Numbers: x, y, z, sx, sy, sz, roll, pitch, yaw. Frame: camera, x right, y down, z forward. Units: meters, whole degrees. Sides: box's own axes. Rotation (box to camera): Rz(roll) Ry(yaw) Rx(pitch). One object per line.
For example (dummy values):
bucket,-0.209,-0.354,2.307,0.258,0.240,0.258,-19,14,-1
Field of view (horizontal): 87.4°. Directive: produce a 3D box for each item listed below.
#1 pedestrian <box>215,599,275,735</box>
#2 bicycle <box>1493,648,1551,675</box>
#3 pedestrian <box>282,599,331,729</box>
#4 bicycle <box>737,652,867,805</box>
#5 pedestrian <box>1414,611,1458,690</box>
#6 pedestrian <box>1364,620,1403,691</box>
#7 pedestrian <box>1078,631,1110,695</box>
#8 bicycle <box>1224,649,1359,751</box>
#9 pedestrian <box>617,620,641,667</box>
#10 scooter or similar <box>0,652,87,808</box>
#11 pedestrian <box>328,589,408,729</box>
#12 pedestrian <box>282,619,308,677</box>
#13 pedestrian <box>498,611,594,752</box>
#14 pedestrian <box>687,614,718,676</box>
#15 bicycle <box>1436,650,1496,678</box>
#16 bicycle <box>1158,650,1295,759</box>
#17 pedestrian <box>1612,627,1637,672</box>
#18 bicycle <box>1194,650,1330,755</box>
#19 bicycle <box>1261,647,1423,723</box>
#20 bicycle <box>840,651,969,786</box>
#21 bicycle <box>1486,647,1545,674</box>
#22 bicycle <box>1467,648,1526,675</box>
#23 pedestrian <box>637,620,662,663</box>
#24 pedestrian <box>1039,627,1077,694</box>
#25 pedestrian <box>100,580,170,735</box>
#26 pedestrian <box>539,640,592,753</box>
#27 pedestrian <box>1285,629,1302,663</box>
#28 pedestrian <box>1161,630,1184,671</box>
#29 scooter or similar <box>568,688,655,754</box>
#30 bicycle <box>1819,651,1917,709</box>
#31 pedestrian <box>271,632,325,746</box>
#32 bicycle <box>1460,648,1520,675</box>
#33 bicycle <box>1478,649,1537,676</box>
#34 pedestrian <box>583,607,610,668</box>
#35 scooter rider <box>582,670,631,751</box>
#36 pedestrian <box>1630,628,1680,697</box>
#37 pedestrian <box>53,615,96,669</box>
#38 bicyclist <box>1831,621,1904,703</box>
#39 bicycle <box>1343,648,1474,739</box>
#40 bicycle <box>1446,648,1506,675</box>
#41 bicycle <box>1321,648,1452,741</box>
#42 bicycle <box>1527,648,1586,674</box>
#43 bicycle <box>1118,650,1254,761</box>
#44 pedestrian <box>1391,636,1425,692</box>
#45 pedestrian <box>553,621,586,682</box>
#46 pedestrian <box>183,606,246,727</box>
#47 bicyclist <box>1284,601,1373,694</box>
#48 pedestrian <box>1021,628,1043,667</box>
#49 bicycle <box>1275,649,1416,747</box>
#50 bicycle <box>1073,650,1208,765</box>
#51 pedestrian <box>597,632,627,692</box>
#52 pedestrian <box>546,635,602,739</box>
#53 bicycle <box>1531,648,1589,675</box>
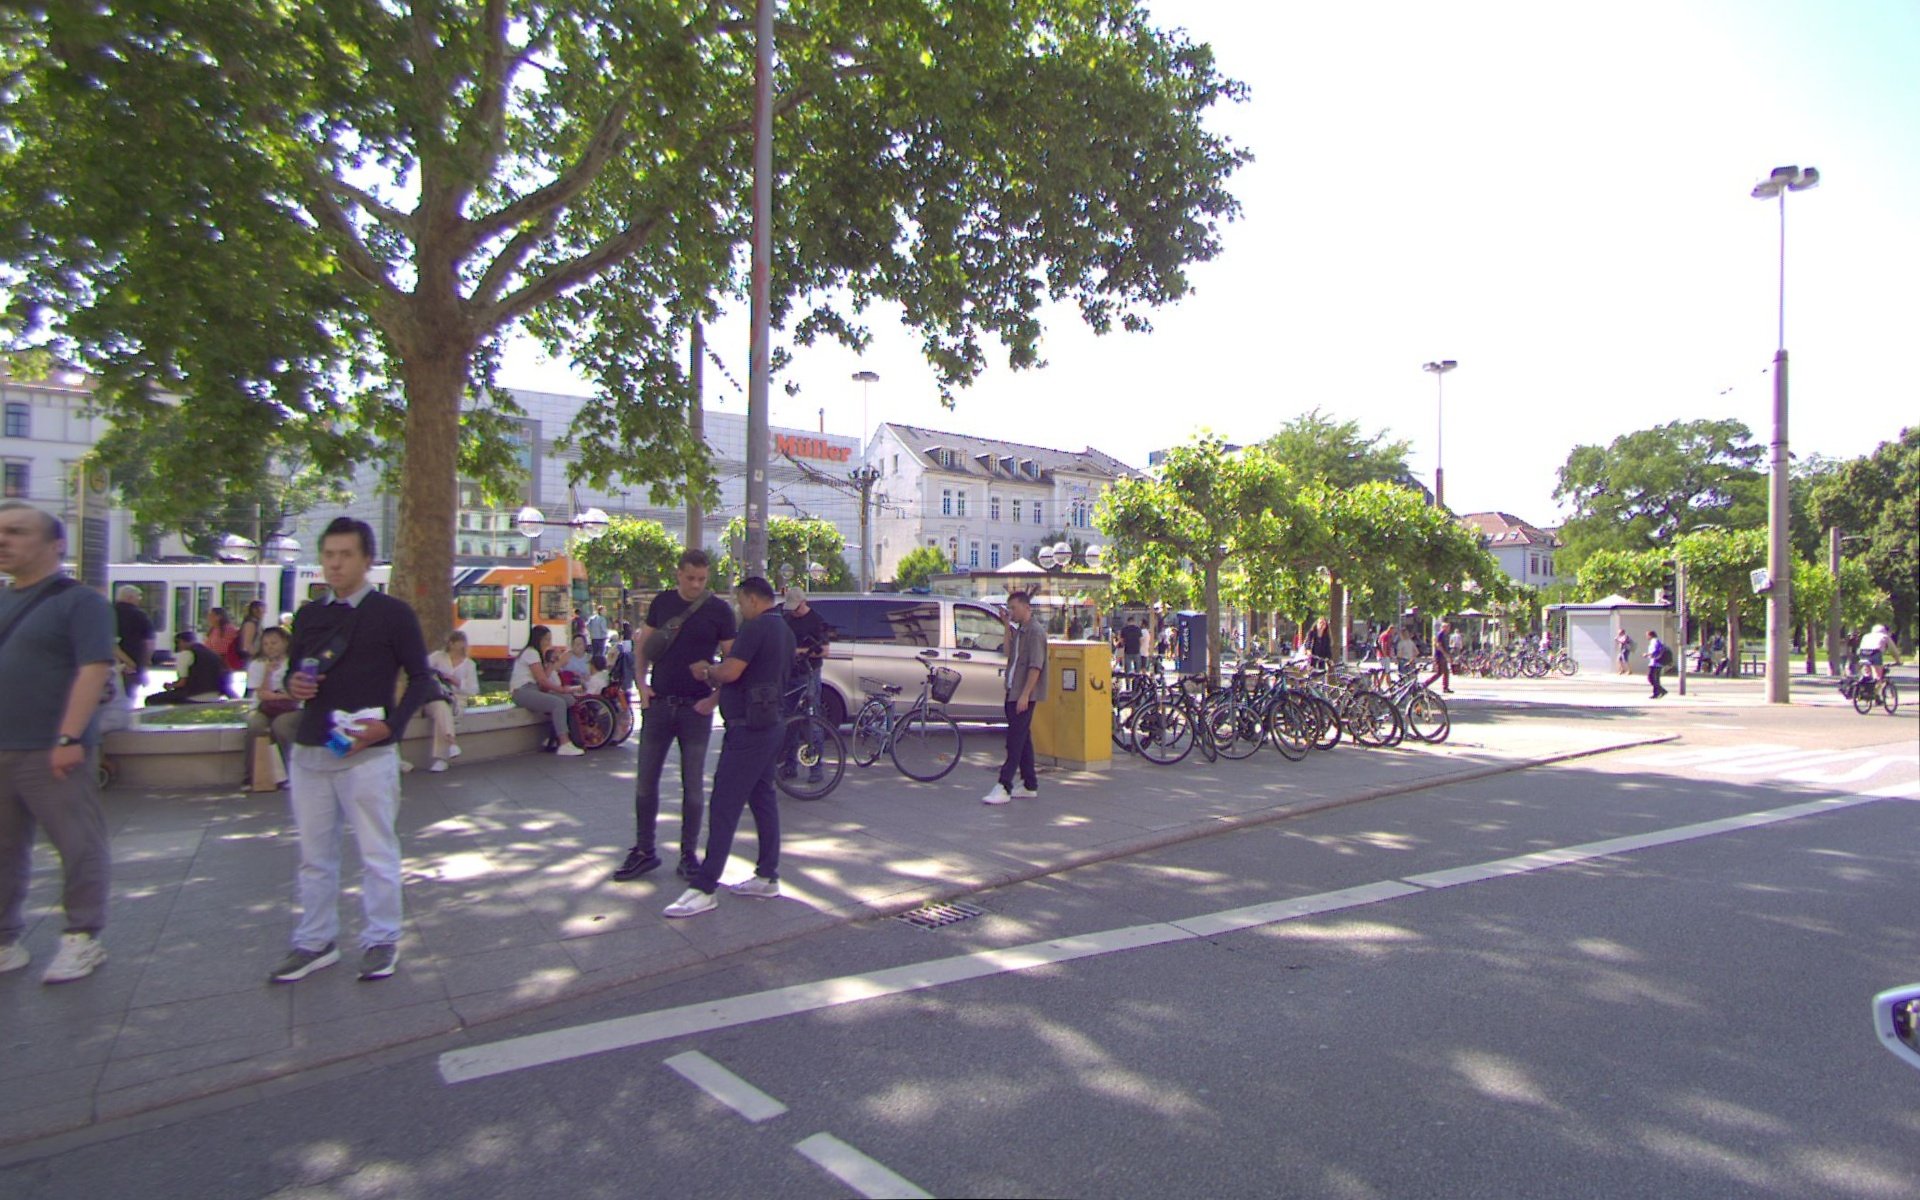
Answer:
pedestrian,-9.095,0.833,12.776,0.551,1.666,0.523,1,1,-41
bicycle,21.425,2.330,38.309,0.578,0.881,1.846,1,1,-43
pedestrian,-8.773,0.836,13.484,0.468,1.690,0.497,1,1,-41
bicycle,-1.442,1.075,8.921,0.477,1.162,1.742,1,-1,-33
pedestrian,12.458,1.329,26.290,0.877,2.033,0.681,-1,-2,15
pedestrian,10.796,1.408,25.629,0.667,1.768,0.625,-1,-3,3
pedestrian,3.159,1.482,23.687,0.612,1.484,0.681,-2,-3,15
bicycle,4.230,1.250,12.941,0.477,1.162,1.742,1,-1,-33
pedestrian,-11.417,1.500,34.665,0.667,1.569,0.578,-1,-3,-5
scooter or similar,-7.335,0.995,7.847,0.528,1.134,0.568,2,1,-4
pedestrian,-7.834,0.761,13.293,0.777,1.770,0.660,1,1,-41
pedestrian,-17.665,1.265,26.677,0.450,1.492,0.552,1,1,-24
pedestrian,-4.556,0.882,11.092,0.770,1.480,0.580,2,1,2
pedestrian,-6.627,1.149,25.866,0.649,1.569,0.569,0,-3,-29
bicycle,18.364,2.304,36.460,0.543,0.868,1.846,1,1,-43
bicycle,3.193,1.222,12.185,0.477,1.162,1.742,1,-1,-33
pedestrian,26.159,1.945,39.532,0.740,1.751,0.836,-3,-3,36
bicycle,3.747,1.236,12.586,0.477,1.162,1.742,1,-1,-33
bicycle,6.424,1.392,17.078,0.822,1.036,2.604,1,0,-31
bicycle,-0.592,1.125,10.014,0.477,1.162,1.742,1,-1,-33
bicycle,20.922,2.271,37.877,0.543,0.868,1.846,1,1,-43
bicycle,19.867,2.253,37.219,0.543,0.868,1.846,1,1,-43
pedestrian,-11.461,1.538,37.100,0.669,1.569,0.577,-3,-3,32
pedestrian,2.206,1.355,22.625,0.668,1.484,0.624,-1,-3,-11
pedestrian,-9.772,0.661,11.897,0.609,1.770,0.531,1,1,-41
pedestrian,-4.369,1.055,11.131,0.342,1.188,0.507,2,1,2
pedestrian,14.853,2.064,44.761,0.667,1.484,0.625,-2,-3,21
pedestrian,7.678,1.832,36.294,0.667,1.436,0.625,-2,-3,21
scooter or similar,-3.962,1.365,11.450,0.770,0.656,0.580,2,0,2
bicycle,18.851,1.643,20.853,1.848,1.135,0.816,1,-4,-24
pedestrian,-8.165,1.081,12.392,0.488,1.355,0.430,1,1,-41
bicycle,19.469,2.242,36.905,0.543,0.868,1.846,1,1,-43
bicycle,20.435,2.309,37.545,0.543,0.868,1.846,1,1,-43
pedestrian,-9.612,0.997,26.567,0.568,1.569,0.679,-1,-3,-11
scooter rider,-4.006,1.240,11.399,0.342,0.850,0.507,2,1,2
pedestrian,17.313,1.545,25.017,0.675,1.680,0.884,1,-1,-40
pedestrian,-24.963,1.186,28.317,0.747,1.492,0.552,1,1,-24
bicyclist,18.820,1.261,20.837,0.890,1.643,0.815,0,-1,-24
bicycle,6.413,1.309,14.457,0.477,1.162,1.742,1,-1,-33
bicycle,18.888,2.241,36.795,0.579,0.883,1.846,1,1,-43
bicycle,5.988,1.296,14.204,0.477,1.162,1.742,1,-1,-33
bicycle,22.976,2.336,38.712,0.578,0.881,1.846,1,1,-43
bicycle,2.656,1.207,11.987,0.477,1.162,1.742,1,-1,-33
pedestrian,10.379,1.472,23.281,0.543,1.250,0.579,1,-1,3
pedestrian,-10.281,1.363,26.444,0.567,1.569,0.681,-1,-3,3
pedestrian,-9.901,0.863,13.340,0.603,1.546,0.542,1,1,-41
bicyclist,6.330,0.793,17.284,0.822,1.518,1.151,1,1,-30
pedestrian,2.752,1.803,38.223,0.613,1.484,0.680,-2,-3,25
bicycle,5.127,1.274,13.483,0.477,1.162,1.849,1,-1,-33
bicycle,2.045,1.189,11.597,0.477,1.162,1.742,1,-1,-33
pedestrian,-7.512,1.330,21.695,0.479,1.270,0.493,1,1,-33
pedestrian,-4.730,1.056,12.313,0.450,1.222,0.501,2,1,2
bicycle,23.363,2.385,39.128,0.578,0.881,1.846,1,1,-43
